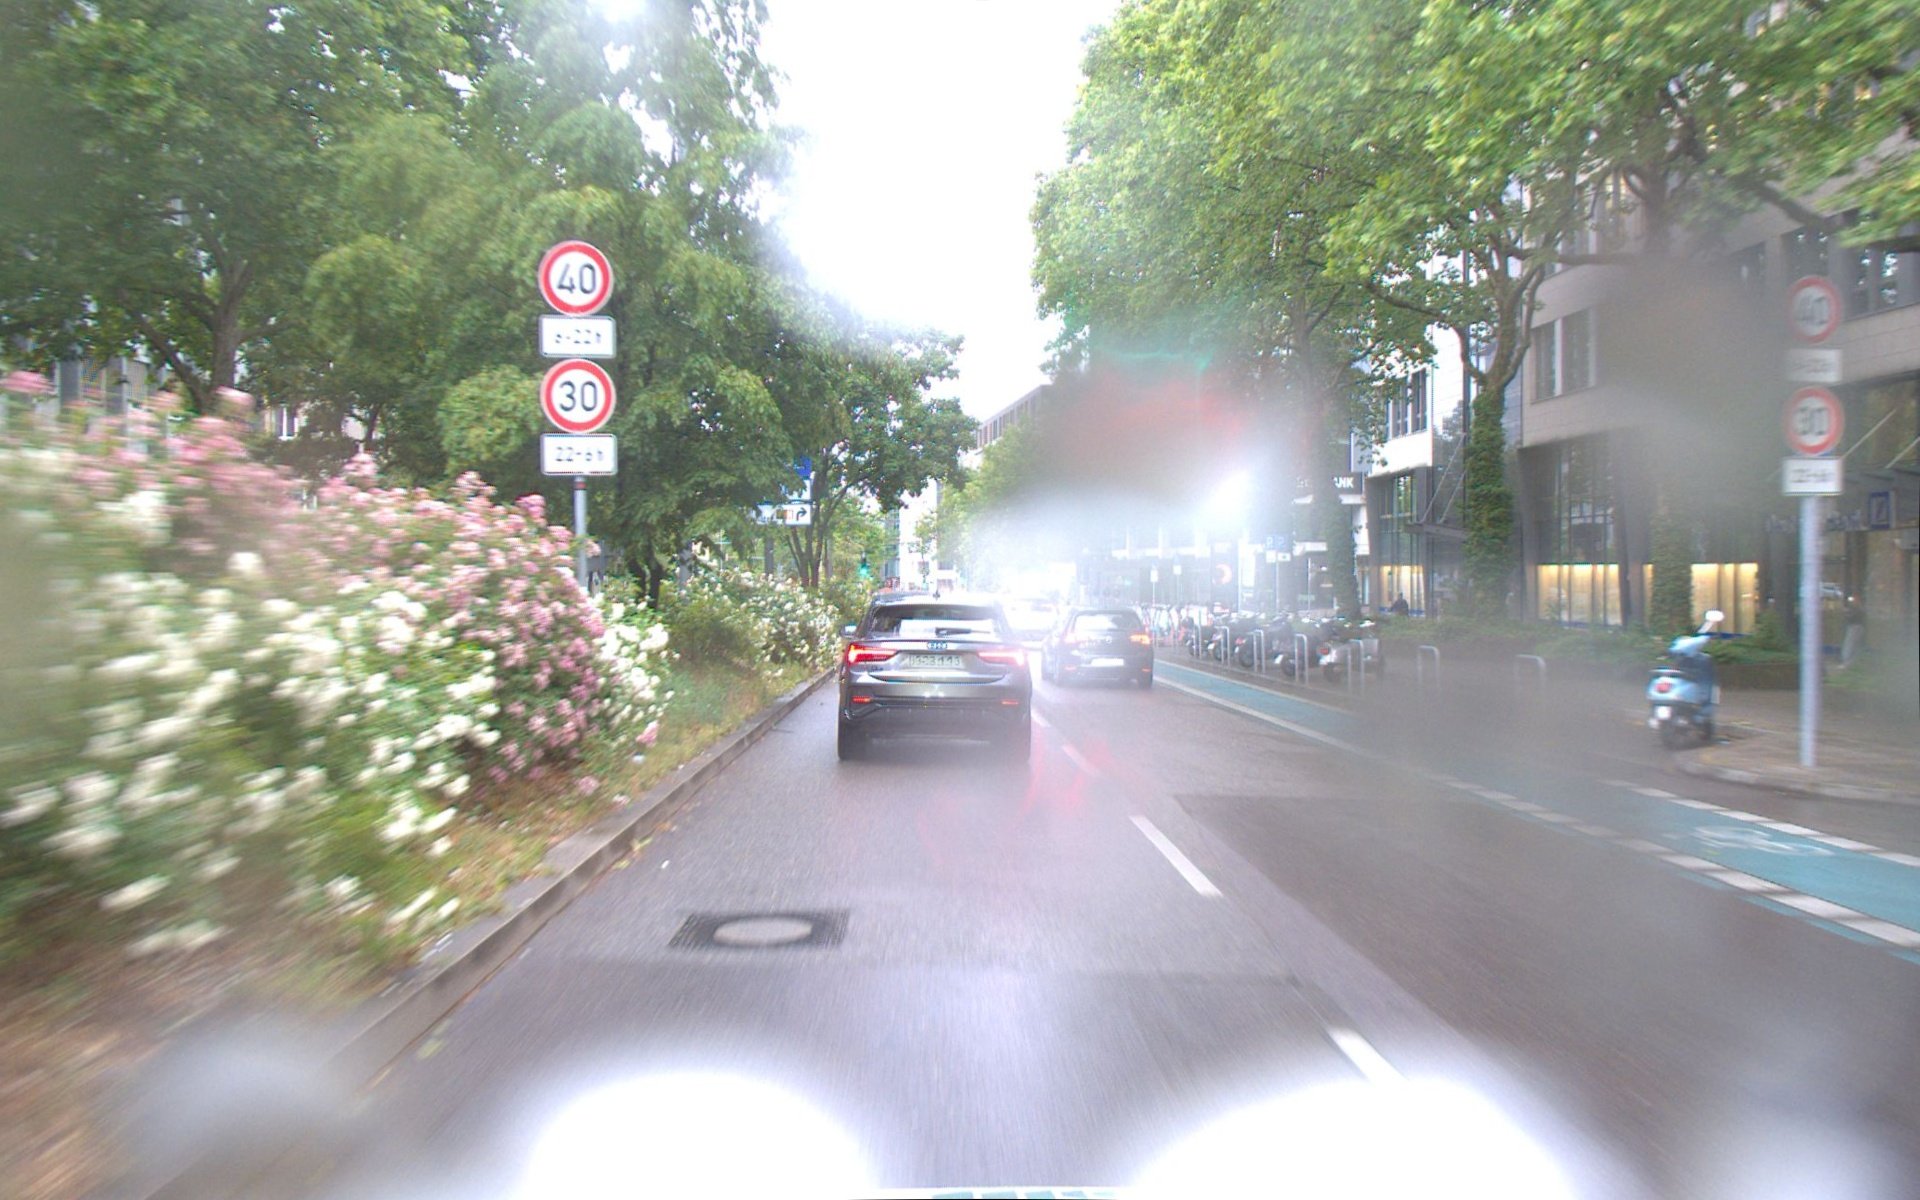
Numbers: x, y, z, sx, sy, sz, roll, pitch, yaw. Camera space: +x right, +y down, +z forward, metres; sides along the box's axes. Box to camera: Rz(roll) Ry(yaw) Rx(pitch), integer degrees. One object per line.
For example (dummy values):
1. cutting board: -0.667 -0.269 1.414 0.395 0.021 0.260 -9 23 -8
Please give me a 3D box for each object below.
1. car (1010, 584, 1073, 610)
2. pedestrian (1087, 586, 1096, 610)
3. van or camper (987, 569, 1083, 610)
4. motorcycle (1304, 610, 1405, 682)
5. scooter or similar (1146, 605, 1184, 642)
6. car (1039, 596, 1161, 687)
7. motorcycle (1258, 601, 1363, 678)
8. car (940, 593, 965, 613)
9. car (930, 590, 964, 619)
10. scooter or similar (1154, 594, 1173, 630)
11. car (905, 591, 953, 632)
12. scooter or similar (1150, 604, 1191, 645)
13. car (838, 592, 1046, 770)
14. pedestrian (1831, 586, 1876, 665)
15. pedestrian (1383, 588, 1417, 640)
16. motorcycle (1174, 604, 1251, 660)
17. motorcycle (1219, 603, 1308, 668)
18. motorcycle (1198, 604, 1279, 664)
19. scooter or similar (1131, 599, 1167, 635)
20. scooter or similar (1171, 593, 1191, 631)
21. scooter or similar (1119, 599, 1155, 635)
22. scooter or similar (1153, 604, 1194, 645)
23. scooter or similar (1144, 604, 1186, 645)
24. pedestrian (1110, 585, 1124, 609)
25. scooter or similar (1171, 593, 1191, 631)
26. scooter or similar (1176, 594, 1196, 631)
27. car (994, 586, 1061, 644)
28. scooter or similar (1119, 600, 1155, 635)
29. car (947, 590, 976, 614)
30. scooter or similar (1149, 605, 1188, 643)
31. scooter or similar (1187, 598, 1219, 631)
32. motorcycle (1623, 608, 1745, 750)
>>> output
1. car: 5.022 -0.196 101.799 3.572 1.574 1.716 1 0 17
2. pedestrian: 10.091 -0.138 126.587 0.542 1.836 0.761 1 -1 -5
3. van or camper: 4.874 -0.657 107.972 5.945 2.603 2.103 0 0 25
4. motorcycle: 7.427 0.854 31.120 2.038 1.234 0.676 -3 0 -37
5. scooter or similar: 7.164 0.828 57.837 1.263 1.257 0.489 -1 2 0
6. car: 2.532 0.715 30.706 1.812 1.550 4.037 1 0 -2
7. motorcycle: 7.105 0.782 33.473 2.026 1.453 0.724 -2 2 -23
8. car: -0.604 0.208 130.077 1.812 1.550 4.037 1 0 -2
9. car: -0.763 0.228 91.767 1.812 1.550 4.037 1 0 -2
10. scooter or similar: 7.624 0.450 61.946 0.478 1.282 1.293 -1 2 -1
11. car: -1.209 0.419 64.199 1.812 1.550 4.037 1 0 -2
12. scooter or similar: 6.912 0.793 54.263 1.262 1.300 0.537 -1 2 2
13. car: -0.236 0.704 16.537 1.812 1.550 4.037 1 0 -2
14. pedestrian: 19.895 0.565 36.828 0.716 1.722 0.824 0 1 41
15. pedestrian: 16.350 0.527 61.526 0.898 1.882 1.276 1 -1 -1
16. motorcycle: 6.790 0.859 44.567 1.925 1.397 0.725 -2 2 -18
17. motorcycle: 6.956 0.800 37.863 1.929 1.397 0.724 -2 2 -23
18. motorcycle: 6.955 0.833 41.297 1.929 1.397 0.724 -2 2 -23
19. scooter or similar: 6.941 0.640 60.764 1.262 1.282 0.490 -1 2 10
20. scooter or similar: 7.886 0.429 59.017 0.478 1.282 1.293 -1 2 -1
21. scooter or similar: 6.561 0.638 61.287 1.262 1.282 0.490 -1 2 10
22. scooter or similar: 6.939 0.789 53.819 1.262 1.300 0.537 -1 2 2
23. scooter or similar: 6.823 0.797 54.945 1.267 1.300 0.535 -2 2 -12
24. pedestrian: 11.311 -0.203 119.532 0.789 1.726 1.186 1 0 -5
25. scooter or similar: 7.886 0.429 59.017 0.478 1.282 1.293 -1 2 -1
26. scooter or similar: 8.227 0.445 60.259 0.478 1.282 1.293 -1 2 -1
27. car: 2.076 0.441 51.542 1.812 1.698 4.037 1 0 -2
28. scooter or similar: 6.620 0.644 61.900 1.262 1.282 0.490 -1 2 10
29. car: 0.056 0.105 109.913 1.812 1.550 4.037 1 0 -2
30. scooter or similar: 7.185 0.822 57.093 1.263 1.257 0.489 -1 2 0
31. scooter or similar: 9.190 0.556 62.653 0.483 1.219 1.279 1 -1 -32
32. motorcycle: 7.840 0.828 17.869 0.672 1.391 1.937 -4 -1 38
